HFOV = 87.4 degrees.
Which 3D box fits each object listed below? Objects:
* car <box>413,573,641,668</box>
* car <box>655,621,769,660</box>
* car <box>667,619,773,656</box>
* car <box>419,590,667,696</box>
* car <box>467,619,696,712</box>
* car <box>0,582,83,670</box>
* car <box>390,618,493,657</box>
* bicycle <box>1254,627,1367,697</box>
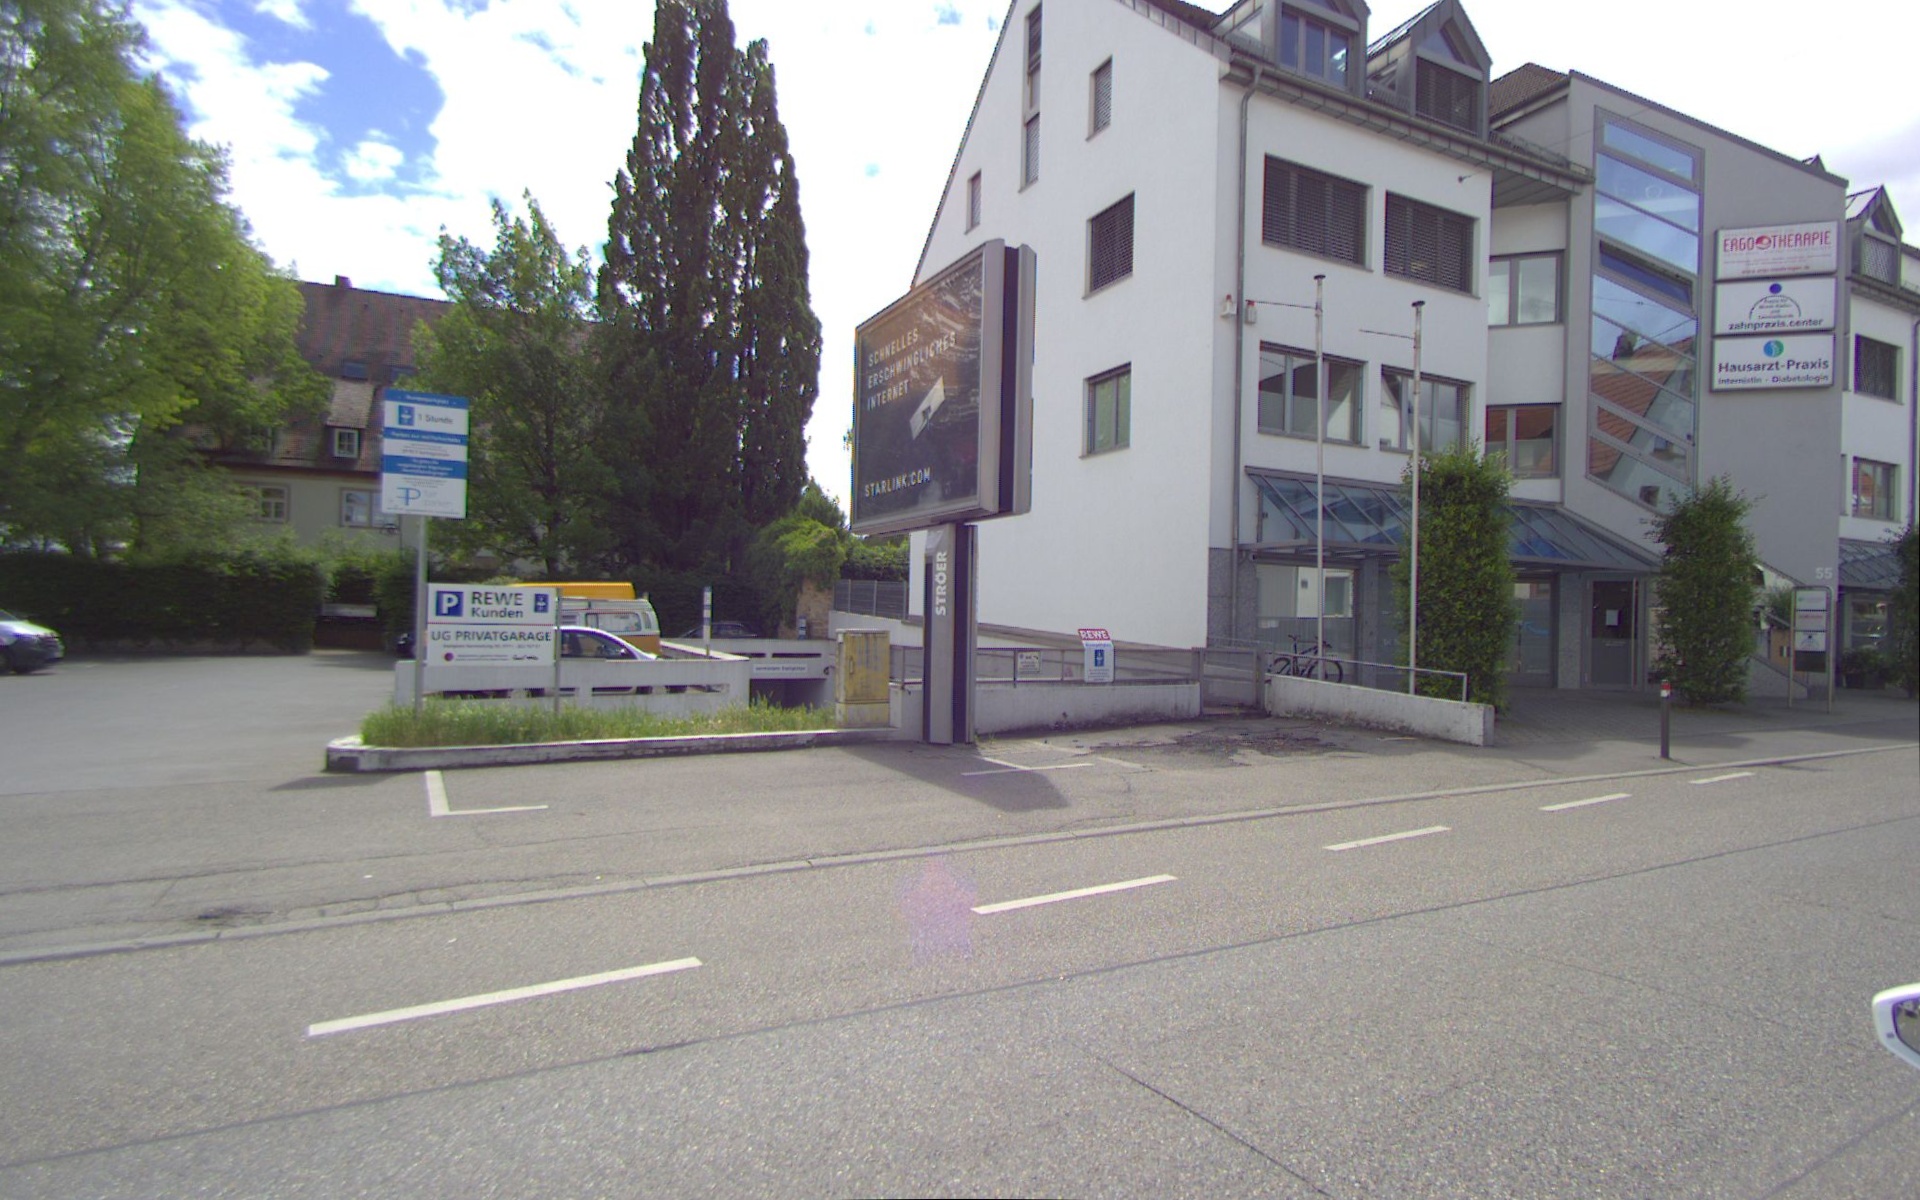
[{"bbox_3d":[-12.570,0.661,29.370,5.903,2.563,2.054,2,-2,-28],"label":"car"},{"bbox_3d":[-8.651,1.407,35.065,3.614,1.302,1.706,1,-1,-26],"label":"car"},{"bbox_3d":[-9.044,1.401,37.815,3.614,1.302,1.706,1,-1,-26],"label":"car"},{"bbox_3d":[-8.644,0.883,20.977,4.590,2.016,1.831,1,-1,-28],"label":"car"},{"bbox_3d":[-7.051,1.166,18.804,3.718,1.549,1.801,2,-1,-34],"label":"car"},{"bbox_3d":[-23.364,0.554,22.635,5.020,1.967,1.962,1,-1,-25],"label":"car"},{"bbox_3d":[-17.538,1.284,34.096,2.995,1.200,1.412,1,2,-24],"label":"car"},{"bbox_3d":[5.865,1.019,16.766,1.979,1.110,0.627,1,-1,-30],"label":"bicycle"}]
